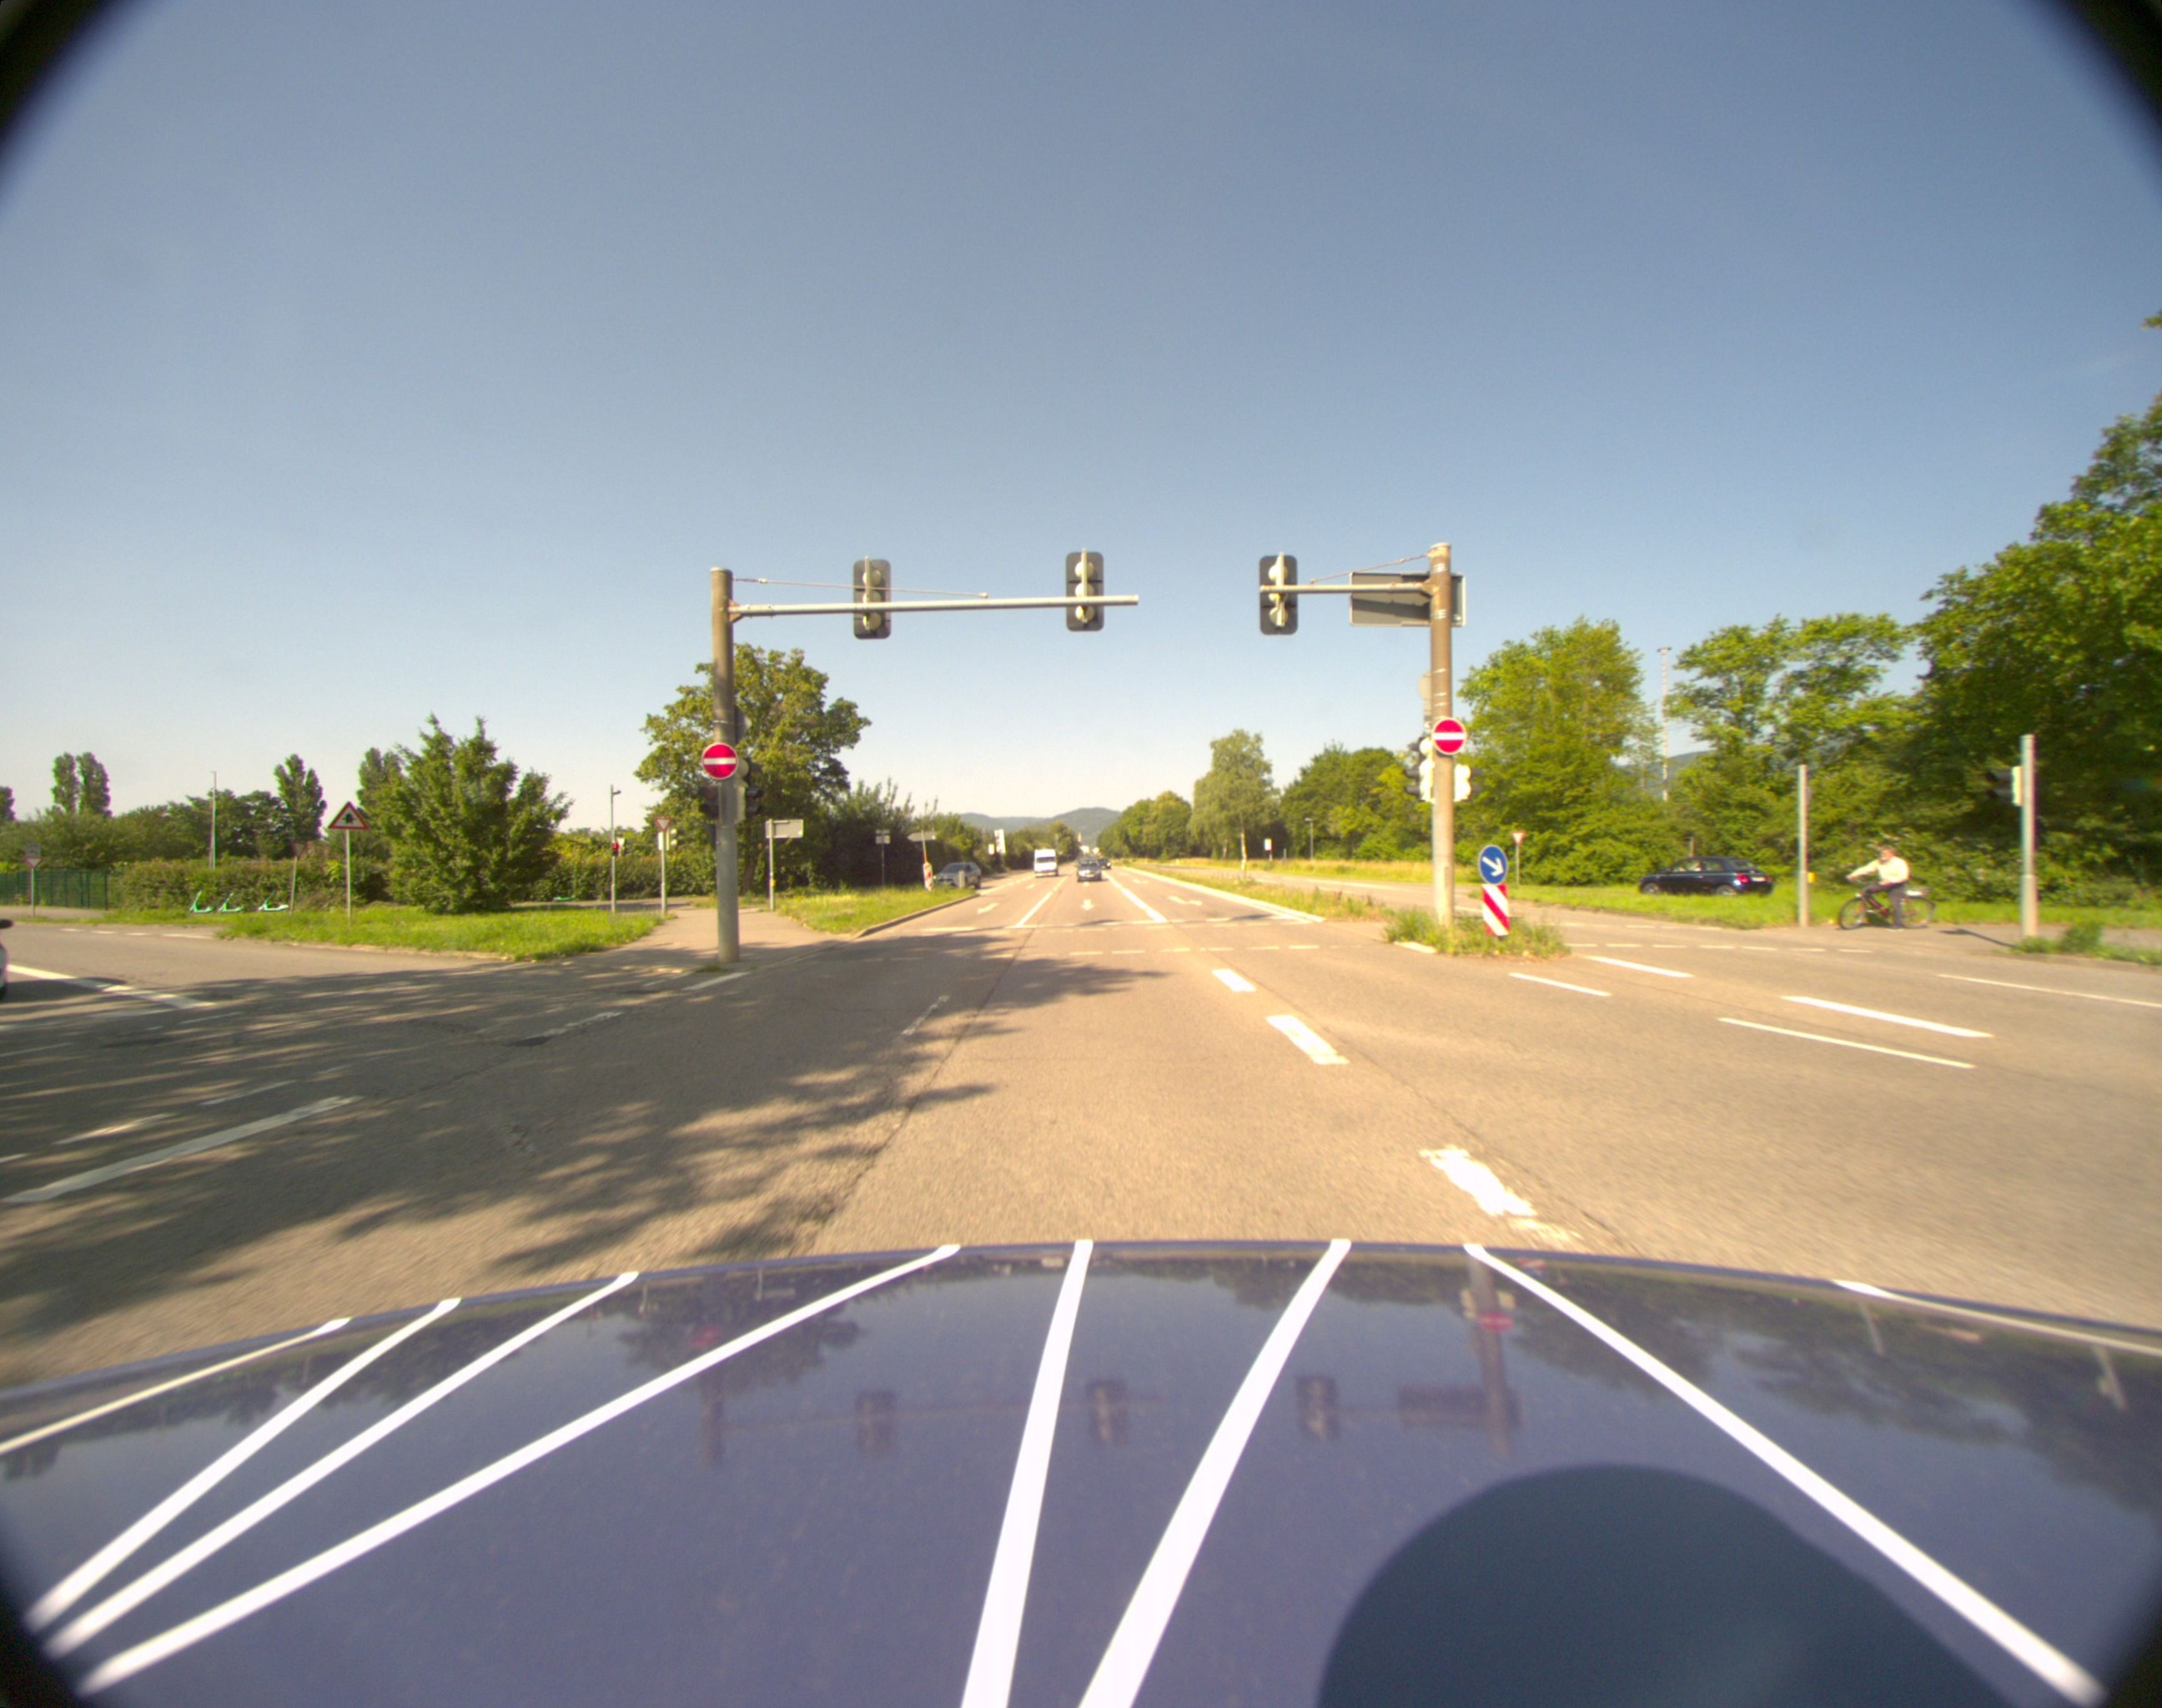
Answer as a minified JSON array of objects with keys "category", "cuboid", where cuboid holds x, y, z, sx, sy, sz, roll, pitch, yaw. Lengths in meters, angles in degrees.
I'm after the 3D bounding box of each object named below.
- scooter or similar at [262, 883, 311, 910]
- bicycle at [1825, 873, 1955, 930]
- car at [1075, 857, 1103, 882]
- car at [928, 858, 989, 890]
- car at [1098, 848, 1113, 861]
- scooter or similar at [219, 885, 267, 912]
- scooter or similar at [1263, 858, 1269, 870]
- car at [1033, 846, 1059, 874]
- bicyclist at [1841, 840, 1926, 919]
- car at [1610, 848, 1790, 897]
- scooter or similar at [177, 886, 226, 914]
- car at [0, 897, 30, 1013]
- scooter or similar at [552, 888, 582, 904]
[{"category":"scooter or similar","cuboid":[-35.190,1.879,33.654,1.385,1.111,0.499,-2,1,-18]},{"category":"bicycle","cuboid":[16.017,0.930,15.075,1.679,1.035,0.747,-2,0,6]},{"category":"car","cuboid":[0.534,1.003,49.632,1.678,1.435,4.361,-2,1,1]},{"category":"car","cuboid":[-7.215,1.168,45.259,1.905,1.670,4.687,-2,1,14]},{"category":"car","cuboid":[2.928,0.066,90.866,1.678,1.435,3.622,-2,1,1]},{"category":"scooter or similar","cuboid":[-36.649,1.936,33.240,1.384,1.111,0.500,-2,1,-6]},{"category":"scooter or similar","cuboid":[19.726,1.066,80.956,0.369,1.179,1.340,1,1,1]},{"category":"car","cuboid":[-3.086,0.493,68.838,1.998,2.432,5.088,-2,1,0]},{"category":"bicyclist","cuboid":[15.888,0.498,15.064,0.848,1.509,0.747,-2,0,6]},{"category":"car","cuboid":[20.747,0.552,25.707,2.002,1.487,4.277,0,1,-18]},{"category":"scooter or similar","cuboid":[-38.295,1.999,33.084,1.384,1.111,0.500,-2,1,-6]},{"category":"car","cuboid":[-15.818,1.354,10.006,3.745,1.461,1.789,-1,1,28]},{"category":"scooter or similar","cuboid":[-25.059,2.027,37.033,1.123,0.722,0.435,0,0,-19]}]
